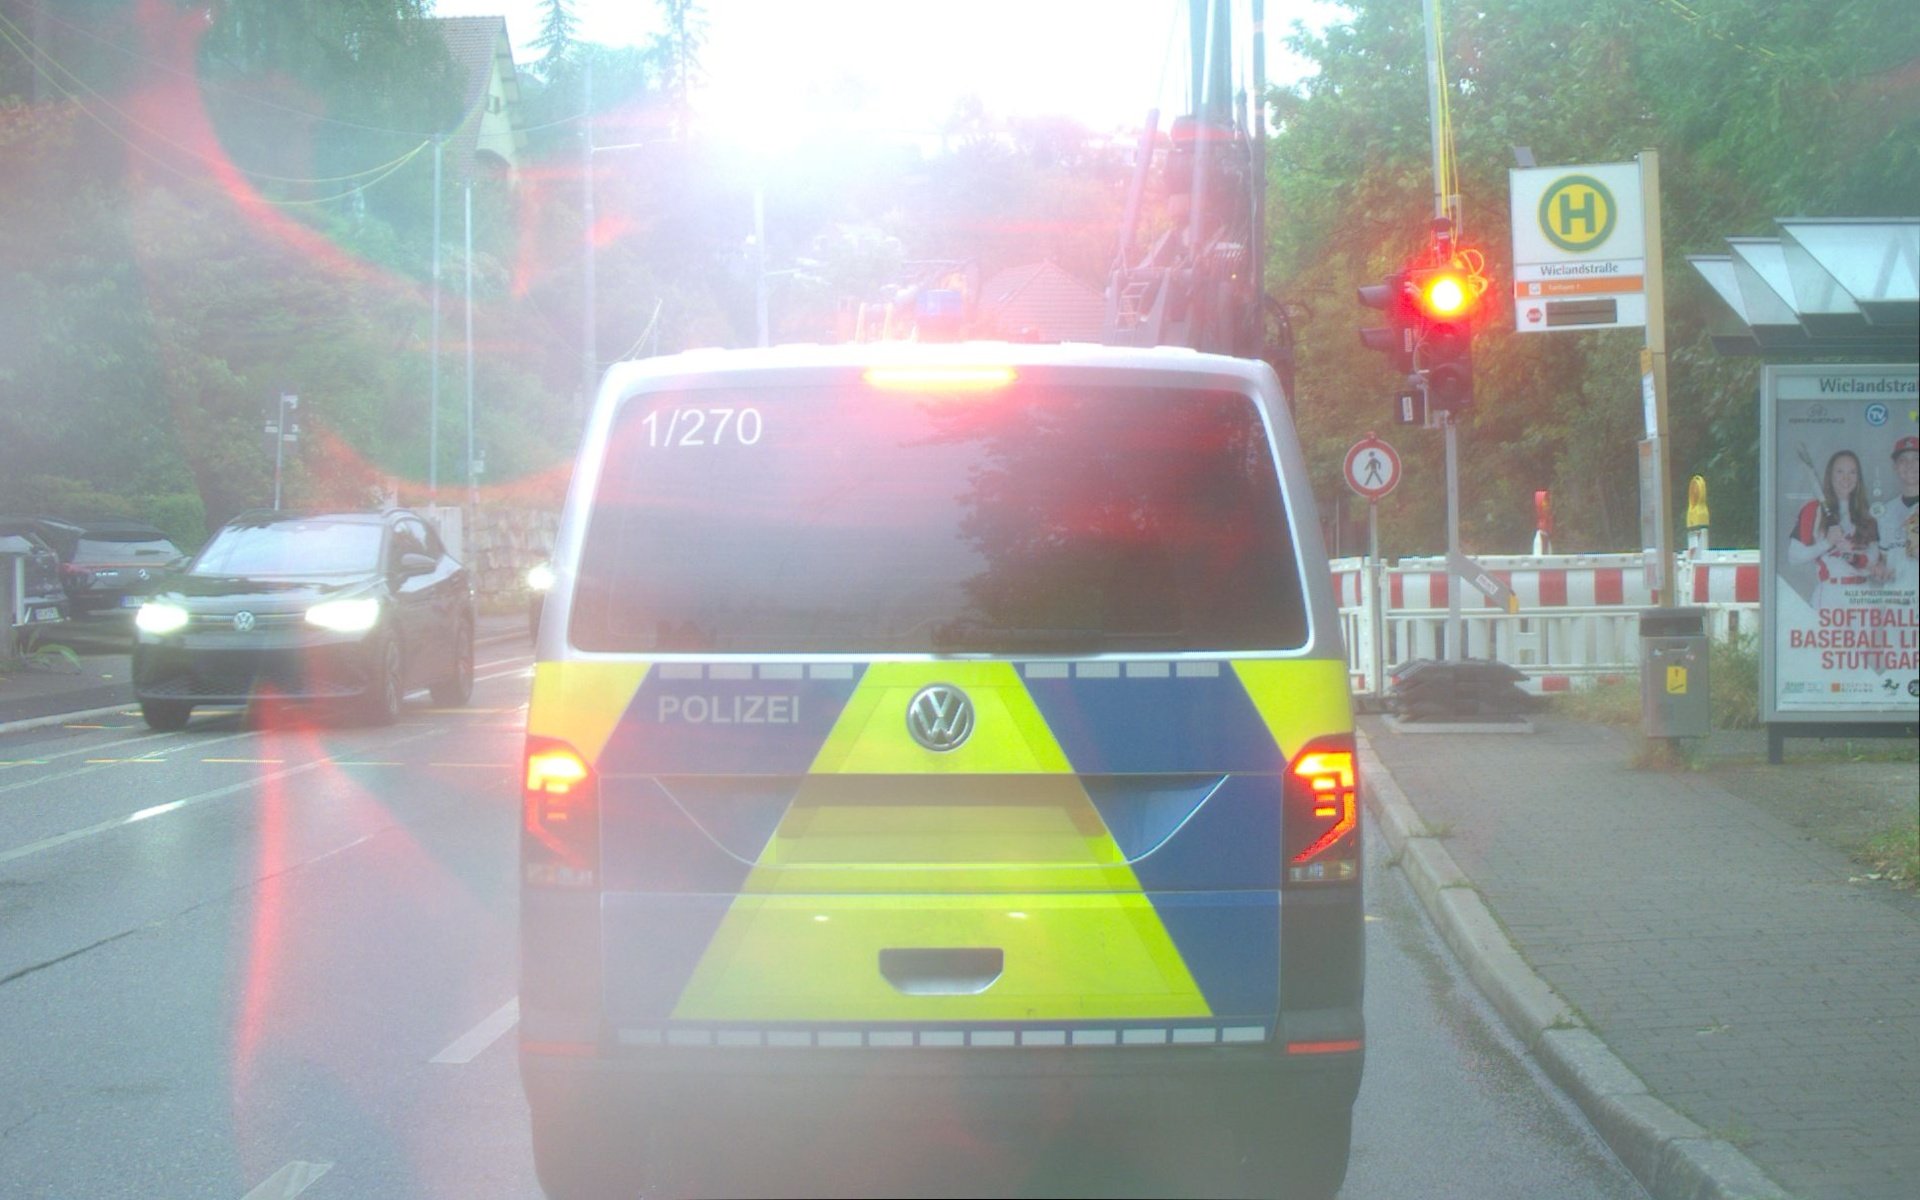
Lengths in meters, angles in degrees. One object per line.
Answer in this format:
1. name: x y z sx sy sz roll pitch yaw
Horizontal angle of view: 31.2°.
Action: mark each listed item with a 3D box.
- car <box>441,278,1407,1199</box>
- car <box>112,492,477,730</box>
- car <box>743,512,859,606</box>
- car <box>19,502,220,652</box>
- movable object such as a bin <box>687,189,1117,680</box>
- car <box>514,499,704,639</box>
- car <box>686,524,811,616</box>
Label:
1. car: -0.097 0.356 8.835 1.893 2.043 4.000 1 1 -1
2. car: -5.017 0.050 26.476 1.867 1.616 4.165 -2 1 1
3. car: -3.108 -0.805 66.416 1.979 1.742 4.554 0 1 -6
4. car: -9.329 -0.286 37.977 1.765 1.481 3.743 1 3 -20
5. movable object such as a bin: -0.425 -1.464 31.634 2.832 4.163 4.378 1 1 15
6. car: -4.439 -0.415 44.095 1.993 1.668 4.688 1 1 -1
7. car: -3.511 -0.524 57.567 1.764 1.458 3.886 1 1 1
